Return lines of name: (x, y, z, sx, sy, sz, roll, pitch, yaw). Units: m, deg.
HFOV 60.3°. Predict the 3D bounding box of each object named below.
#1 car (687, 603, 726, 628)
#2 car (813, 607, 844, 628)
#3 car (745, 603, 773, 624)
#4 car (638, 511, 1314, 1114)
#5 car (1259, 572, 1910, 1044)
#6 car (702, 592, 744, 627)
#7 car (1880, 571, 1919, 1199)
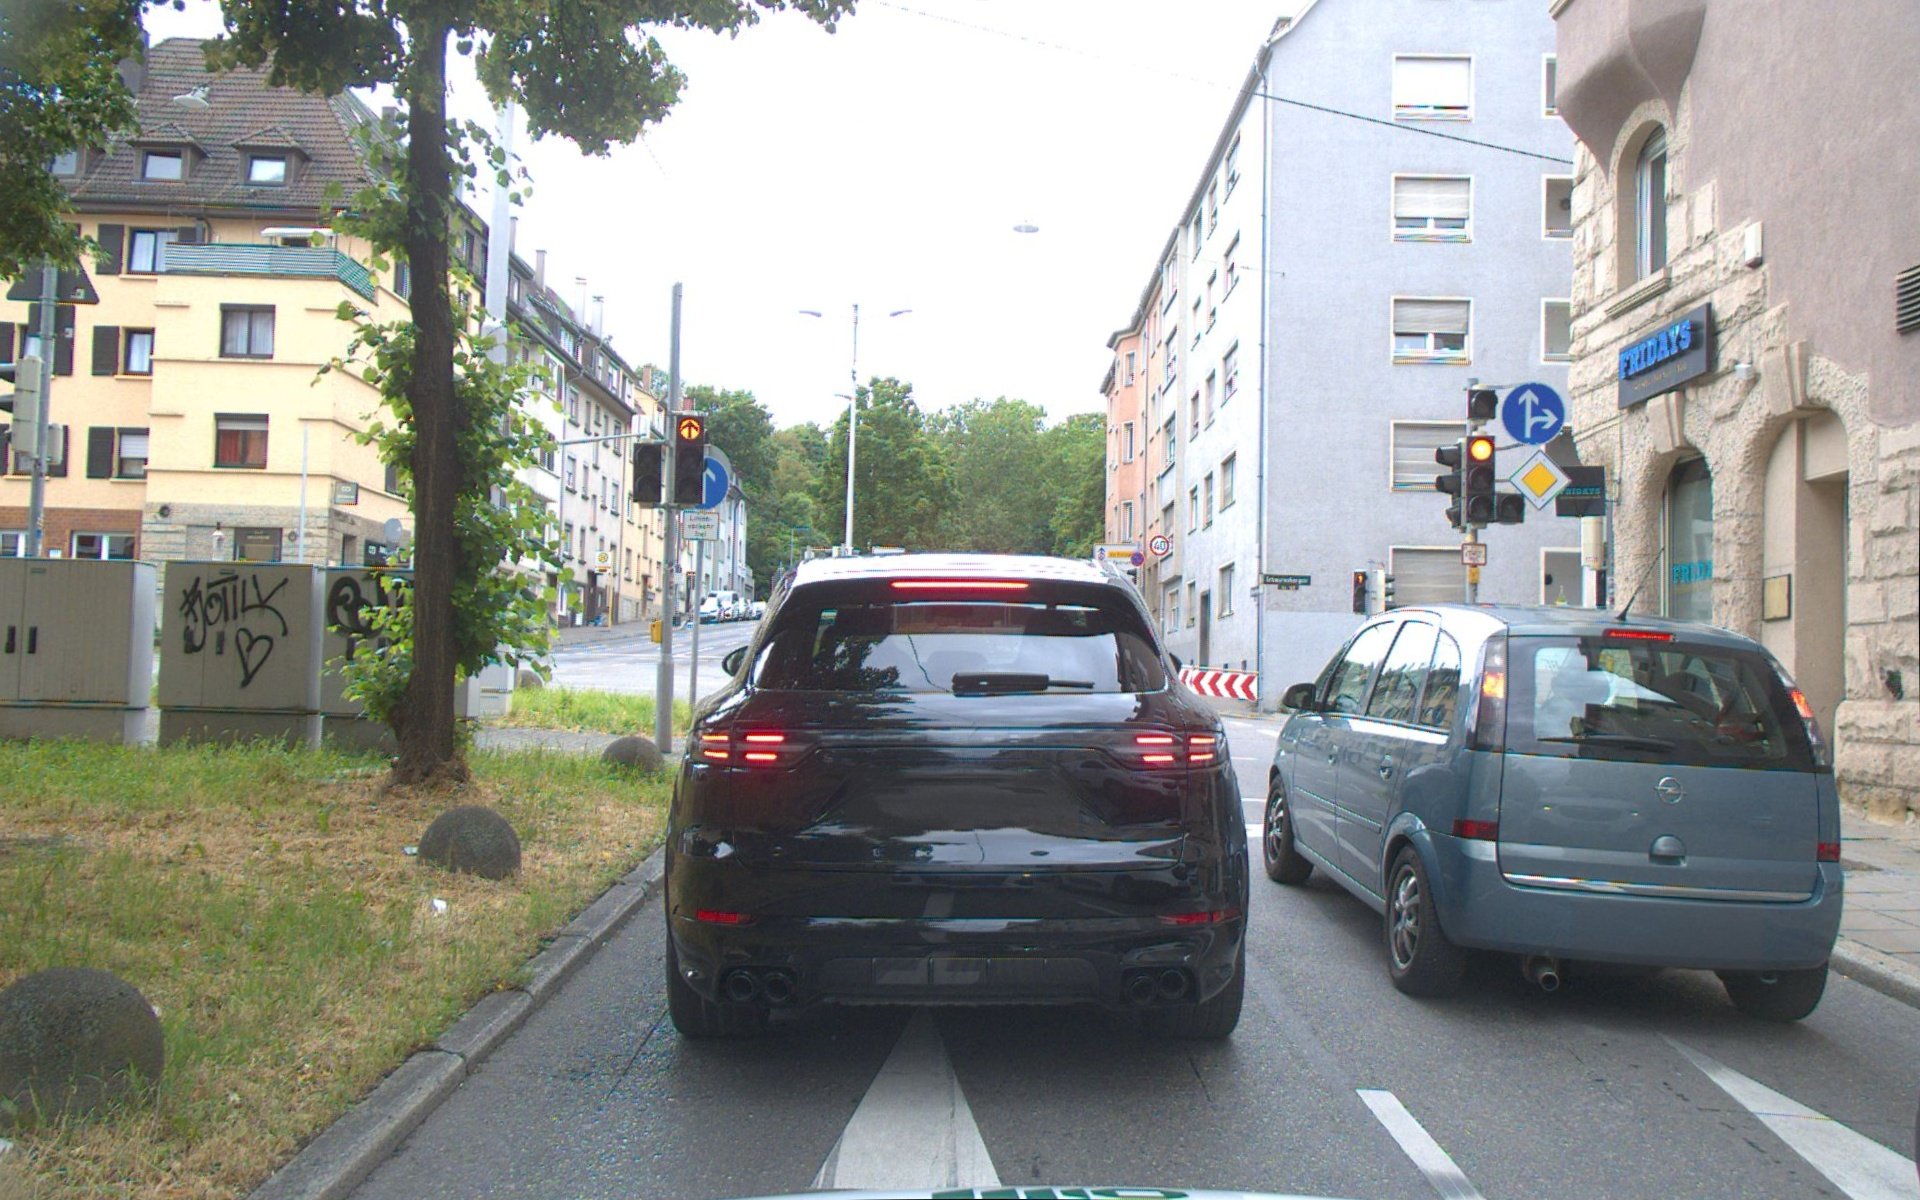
car: (-15.078, 0.903, 98.596, 1.703, 1.411, 3.813, 1, 0, 0)
car: (-9.006, 1.173, 113.746, 1.824, 1.412, 4.094, 1, 0, 0)
car: (-15.149, 1.027, 124.658, 1.655, 1.565, 3.813, 1, 0, 0)
car: (0.023, 0.612, 6.698, 1.916, 1.704, 3.999, 0, 0, -1)
car: (2.628, 0.771, 7.902, 1.596, 1.625, 3.668, 4, 0, -1)
car: (-14.913, 0.592, 104.333, 1.975, 2.081, 4.666, 1, 0, 0)
car: (2.925, 0.619, 0.995, 1.936, 1.806, 4.674, 4, 0, -2)
